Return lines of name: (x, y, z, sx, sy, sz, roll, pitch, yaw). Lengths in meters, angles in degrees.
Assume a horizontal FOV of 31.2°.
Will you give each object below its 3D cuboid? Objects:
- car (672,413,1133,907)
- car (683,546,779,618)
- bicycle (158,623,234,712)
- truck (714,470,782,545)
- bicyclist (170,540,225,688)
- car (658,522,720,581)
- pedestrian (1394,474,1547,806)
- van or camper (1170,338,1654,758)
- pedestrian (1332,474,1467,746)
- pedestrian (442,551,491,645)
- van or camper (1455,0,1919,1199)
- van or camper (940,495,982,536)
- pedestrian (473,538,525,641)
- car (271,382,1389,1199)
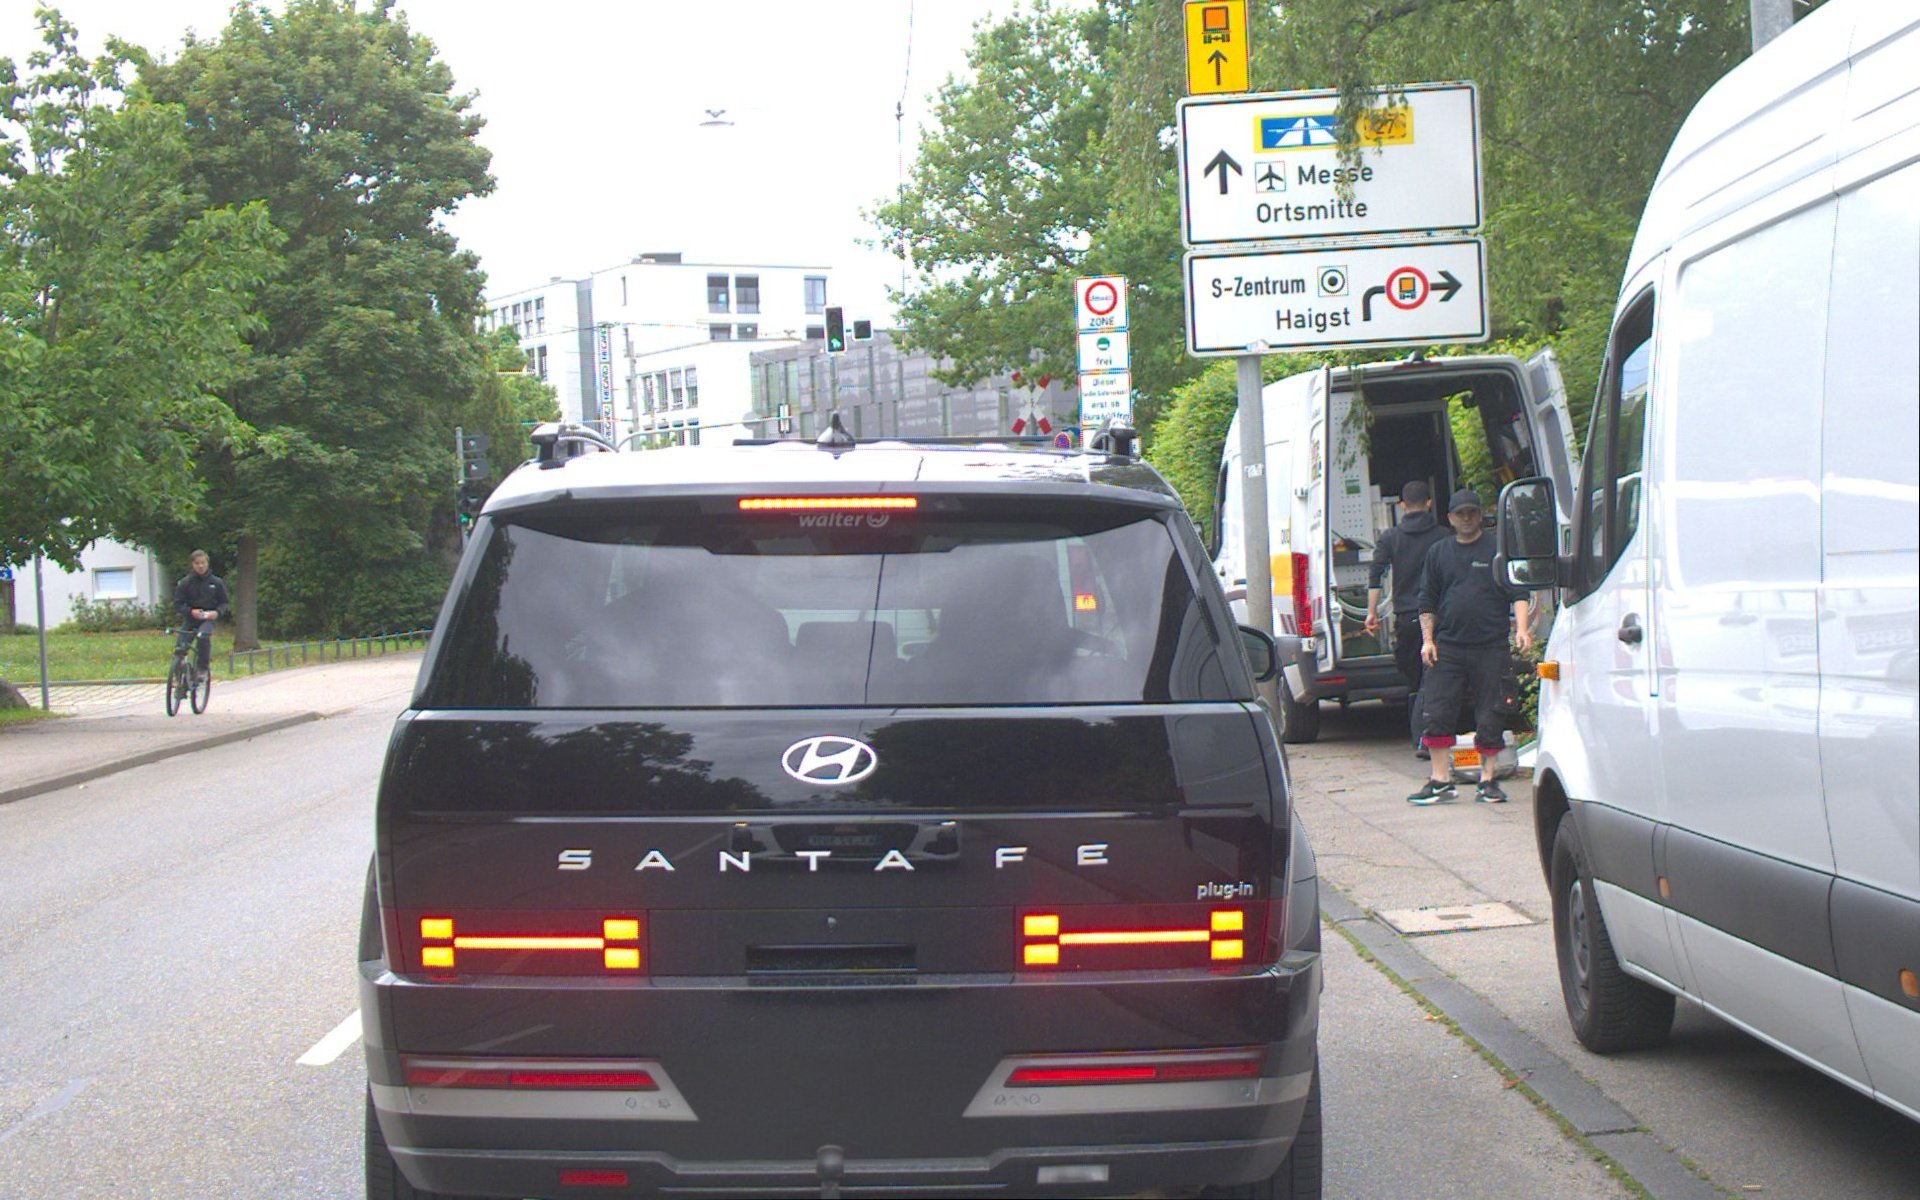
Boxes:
car: (-0.263, 0.232, 16.355, 1.897, 2.035, 3.994, 1, 1, -1)
car: (-4.973, -0.410, 74.997, 1.756, 1.398, 4.414, -4, 1, -1)
bicycle: (-8.778, 0.768, 39.563, 0.495, 0.961, 1.748, 1, 1, -1)
truck: (-11.676, -5.028, 188.808, 3.107, 3.846, 9.623, -2, 1, -6)
bicyclist: (-8.766, 0.153, 39.531, 0.487, 1.678, 0.588, 1, 0, -1)
car: (-11.387, -2.029, 144.180, 2.332, 2.307, 4.959, -2, 1, -6)
pedestrian: (2.722, 0.203, 18.288, 0.750, 1.715, 0.791, 1, 0, 10)
van or camper: (3.096, -0.331, 25.286, 2.340, 2.486, 6.603, -5, 0, -1)
pedestrian: (2.747, 0.059, 21.558, 0.736, 1.638, 0.801, -3, 0, 6)
pedestrian: (-9.240, -0.045, 64.354, 0.767, 1.742, 0.904, -1, 0, 0)
van or camper: (2.614, -0.015, 7.012, 1.991, 2.616, 6.544, -5, 1, -1)
van or camper: (0.047, -4.232, 172.495, 1.795, 1.992, 3.824, 1, 1, -4)
pedestrian: (-9.134, -0.212, 68.160, 0.830, 2.007, 1.047, 1, 0, 2)
car: (-0.248, 0.506, 7.892, 1.897, 1.770, 3.994, 1, 1, -1)
